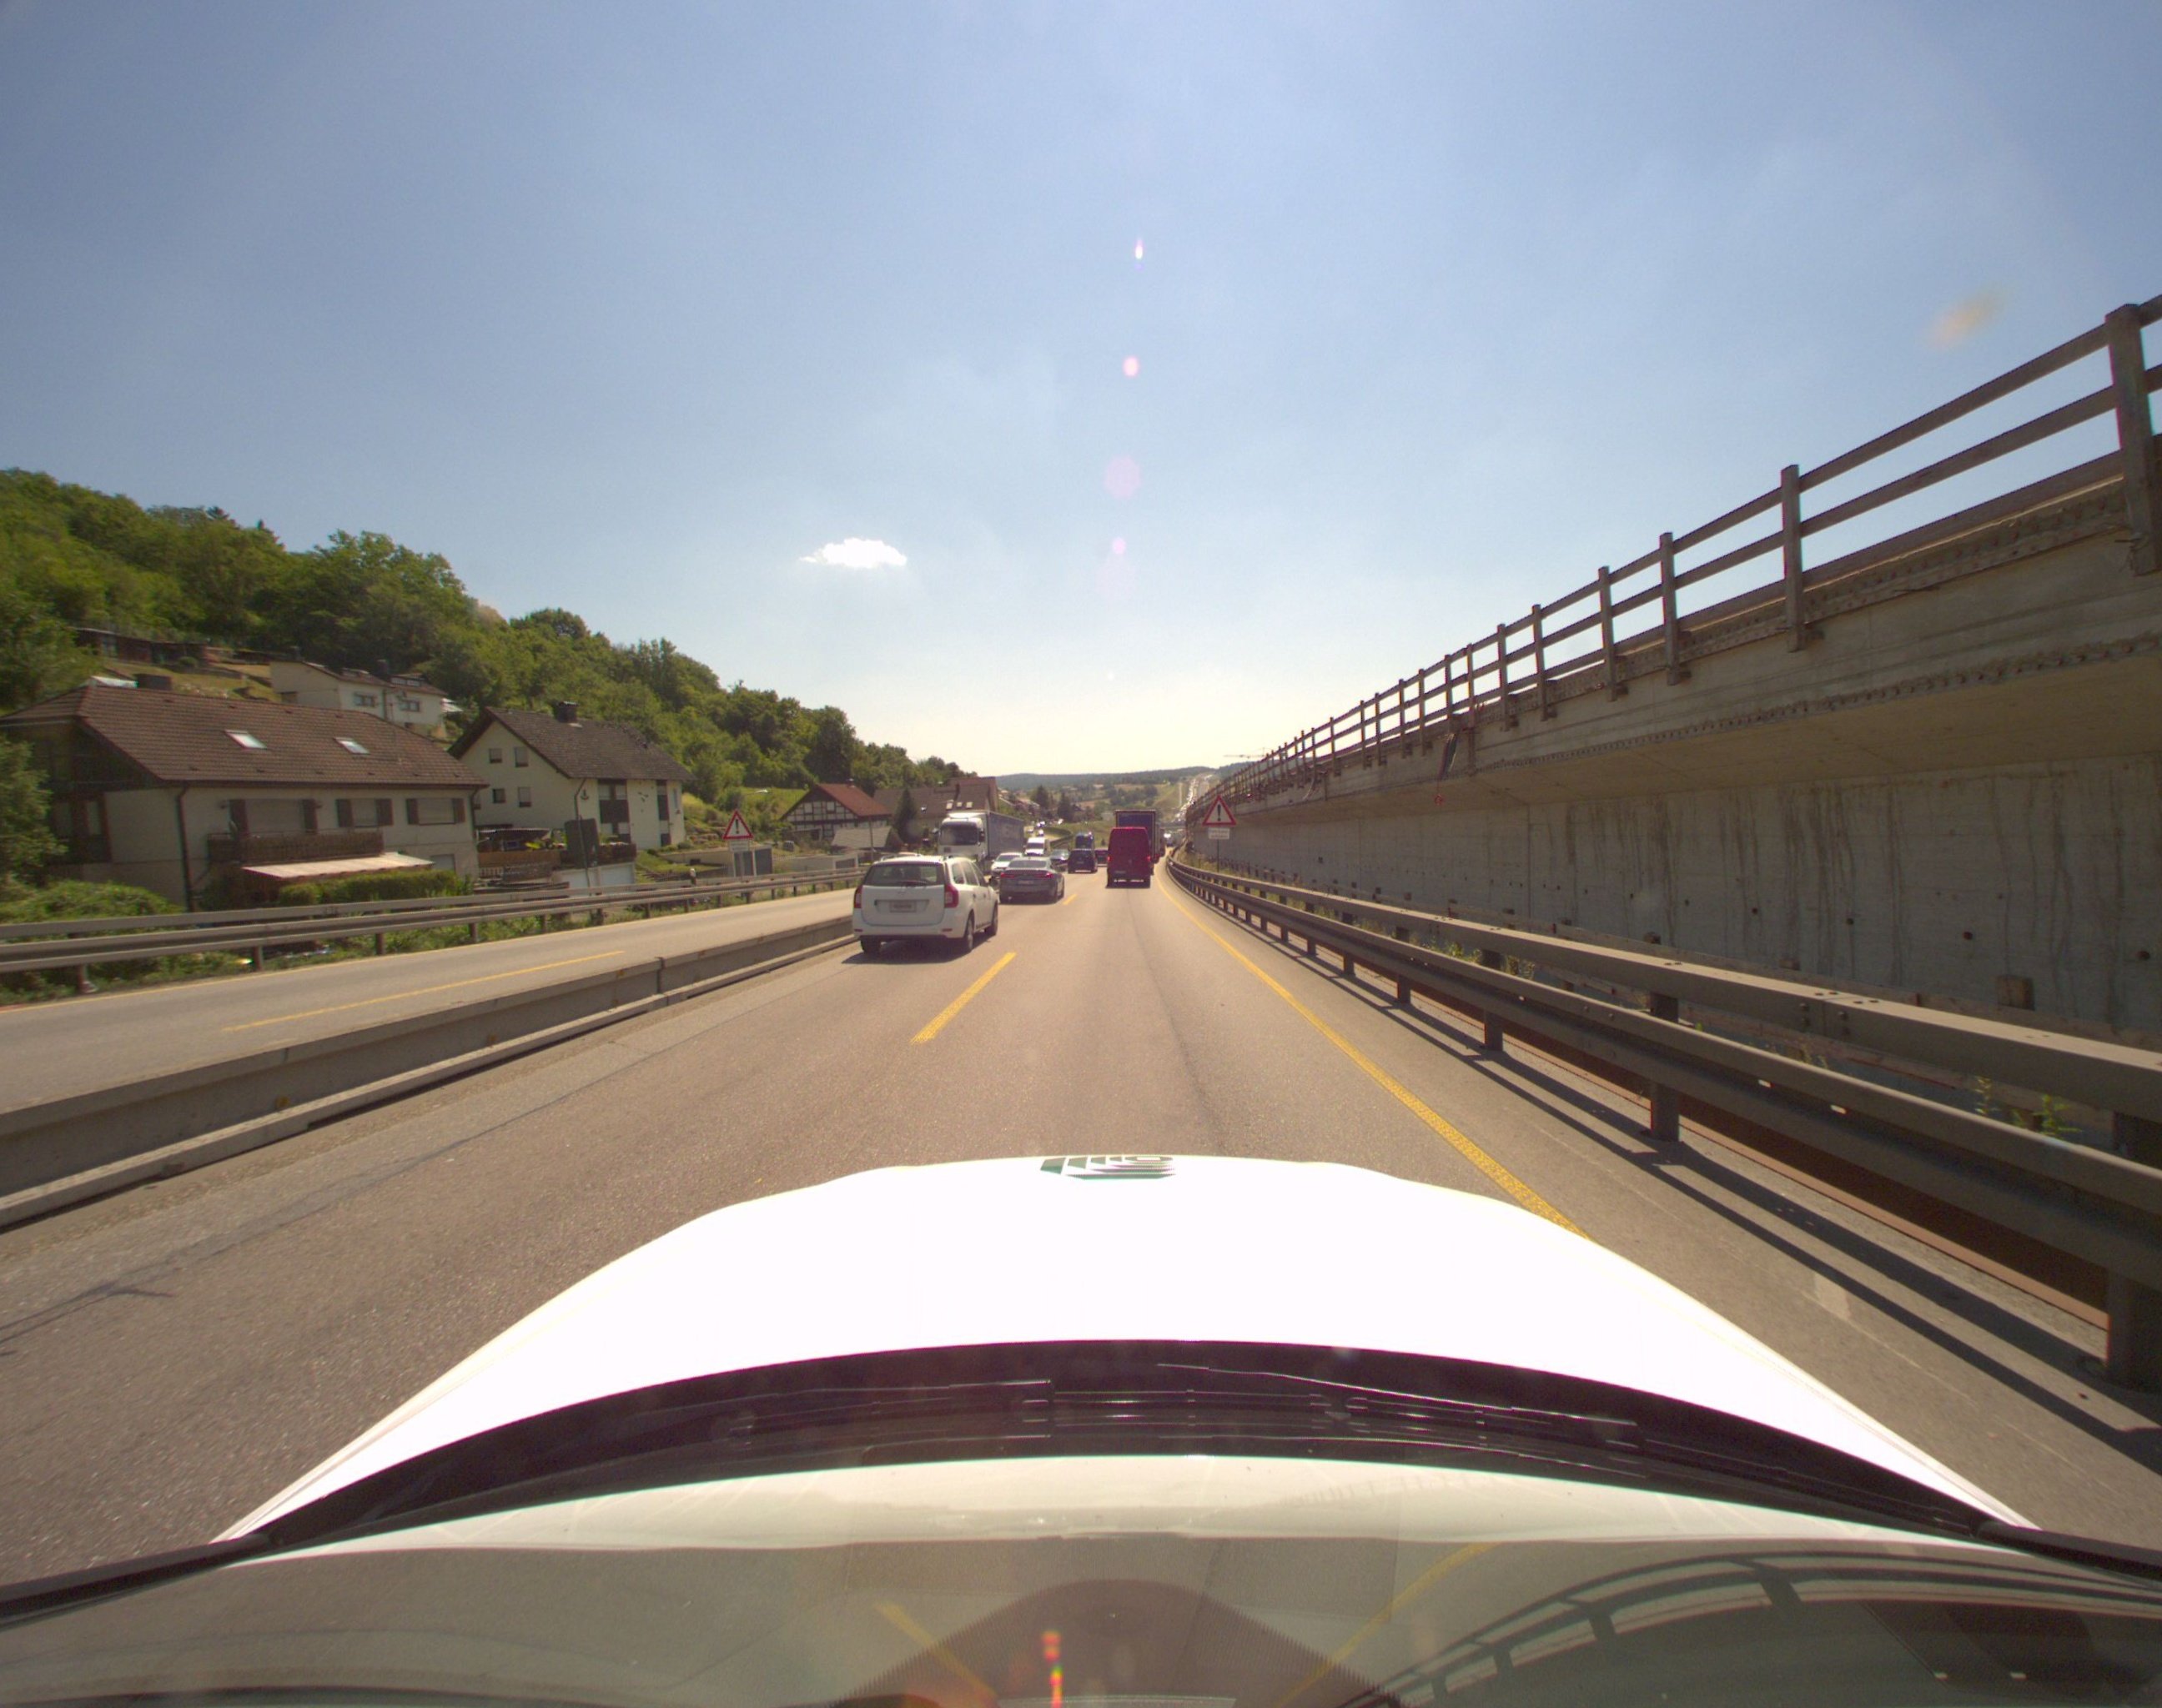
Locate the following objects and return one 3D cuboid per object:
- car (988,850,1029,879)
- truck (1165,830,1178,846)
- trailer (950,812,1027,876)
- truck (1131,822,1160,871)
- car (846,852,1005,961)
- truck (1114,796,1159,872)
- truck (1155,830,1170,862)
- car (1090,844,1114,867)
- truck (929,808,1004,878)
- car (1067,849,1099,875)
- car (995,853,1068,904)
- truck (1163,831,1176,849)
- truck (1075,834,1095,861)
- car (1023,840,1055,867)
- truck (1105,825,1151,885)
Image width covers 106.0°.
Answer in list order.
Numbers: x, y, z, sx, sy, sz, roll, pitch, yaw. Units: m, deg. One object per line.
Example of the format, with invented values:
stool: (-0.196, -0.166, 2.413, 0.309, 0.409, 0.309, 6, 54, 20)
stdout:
car: (-4.082, 0.549, 46.514, 1.664, 1.535, 4.195, -1, 0, 4)
truck: (26.600, -4.717, 239.417, 3.449, 4.381, 8.572, -1, -1, 7)
trailer: (-6.399, -0.687, 58.756, 3.120, 4.079, 11.834, -1, 0, 5)
truck: (6.961, -0.656, 86.503, 2.772, 4.816, 9.698, -1, -1, 5)
car: (-2.447, 0.778, 13.868, 1.645, 1.483, 4.269, -3, -1, 2)
truck: (3.989, -1.169, 56.917, 2.772, 4.816, 9.698, -1, -1, 5)
truck: (11.859, -1.100, 117.717, 1.983, 4.381, 4.007, -1, -1, 7)
car: (1.791, 0.143, 68.253, 1.721, 1.838, 4.005, -1, -1, 5)
truck: (-7.063, -0.675, 51.279, 3.120, 4.079, 6.889, -1, 0, 5)
car: (0.160, 0.557, 55.016, 1.801, 1.608, 3.724, -1, -1, 5)
car: (-1.501, 0.766, 26.321, 1.787, 1.485, 4.054, -2, -1, 4)
truck: (23.706, -3.705, 217.616, 3.053, 4.381, 8.572, -1, -1, 7)
truck: (0.582, -0.899, 123.279, 2.496, 3.965, 5.183, -1, -1, 6)
car: (-4.180, -0.095, 81.993, 1.994, 2.603, 5.993, -1, 0, 8)
truck: (2.191, 0.085, 37.564, 1.985, 2.579, 4.004, -1, -1, 4)
